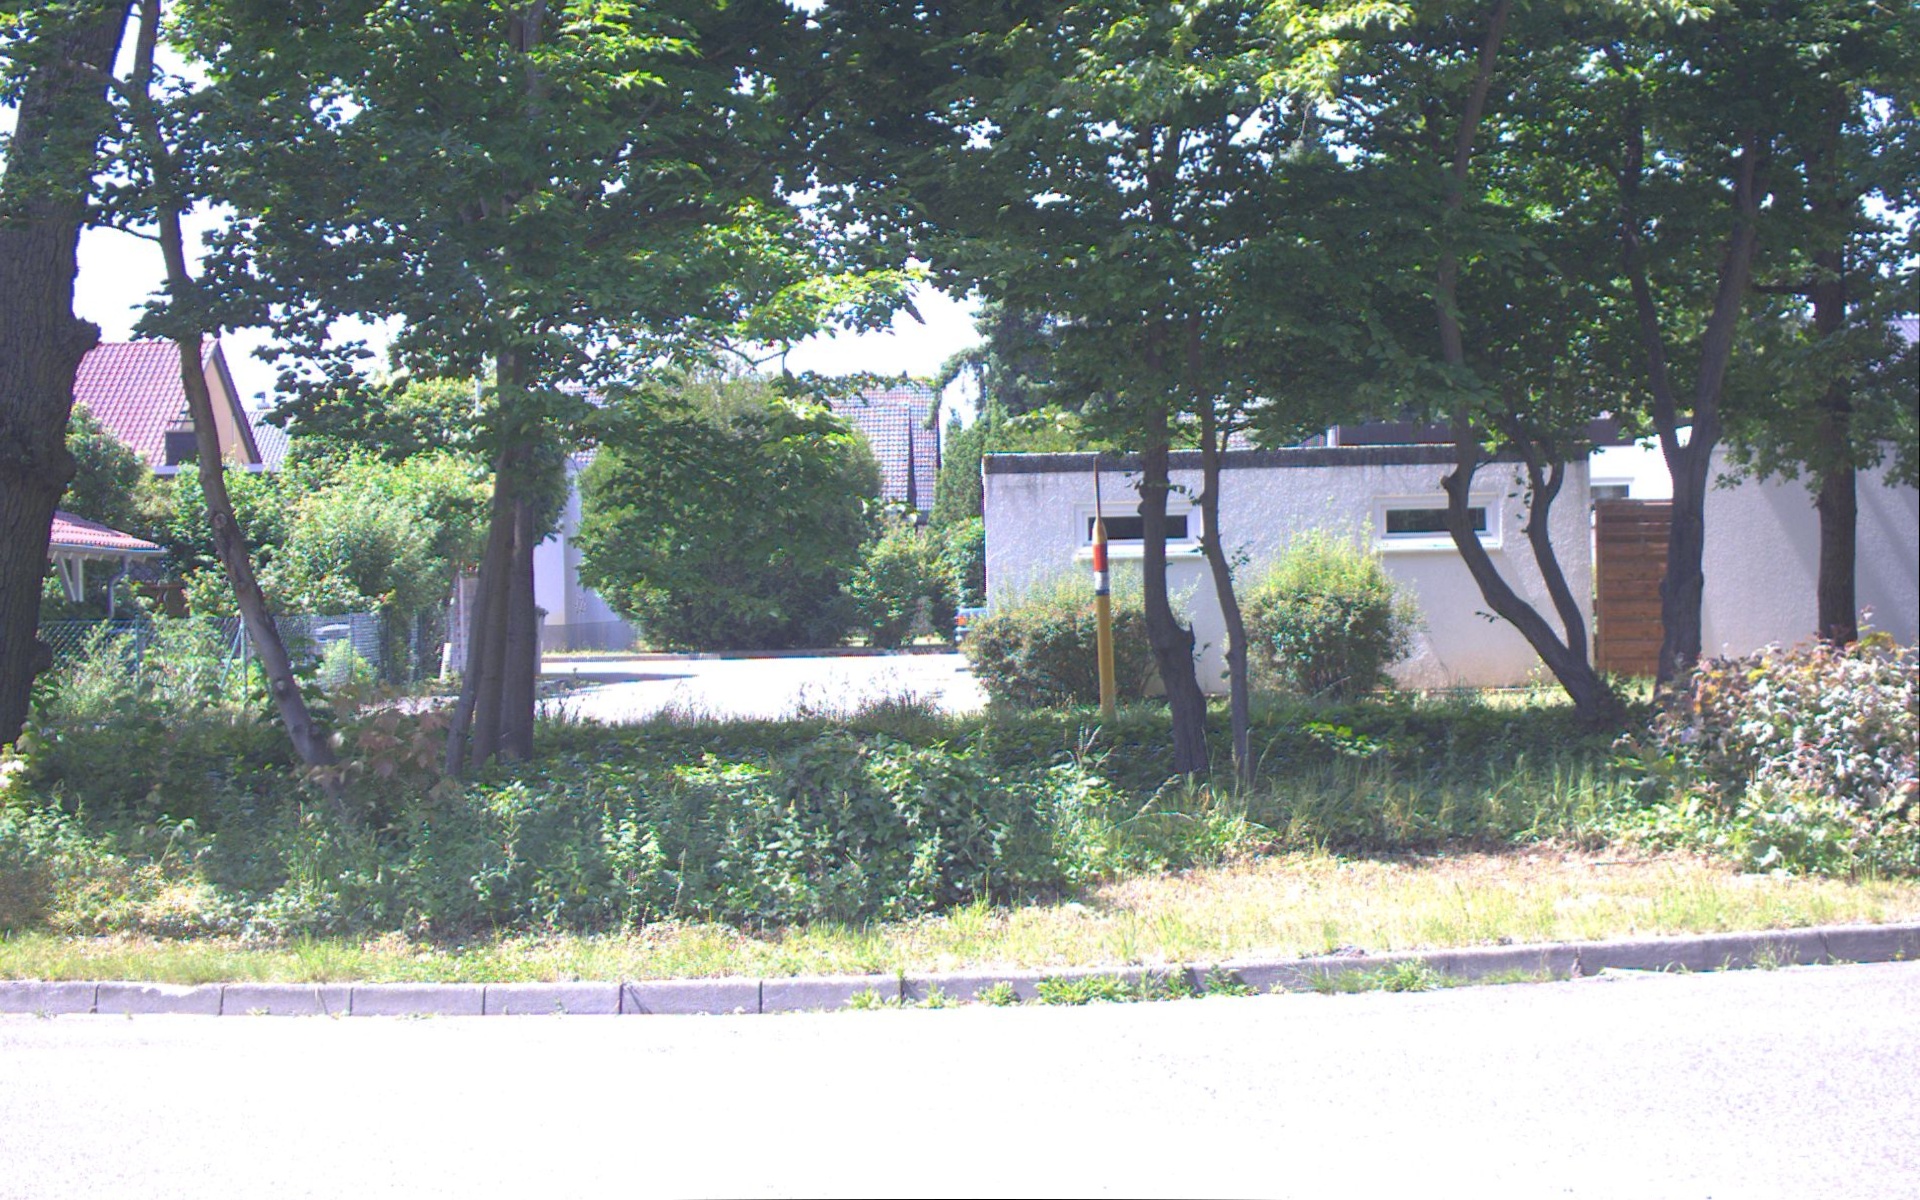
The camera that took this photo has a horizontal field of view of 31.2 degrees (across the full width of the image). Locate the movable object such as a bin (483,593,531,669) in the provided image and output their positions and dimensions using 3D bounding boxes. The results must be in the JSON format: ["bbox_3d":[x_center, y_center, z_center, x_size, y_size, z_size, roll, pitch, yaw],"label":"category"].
[{"bbox_3d":[-6.808,0.463,51.678,0.657,1.108,0.457,-1,1,-2],"label":"movable object such as a bin"}]

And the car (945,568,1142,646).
[{"bbox_3d":[1.408,0.113,59.029,3.268,1.249,1.573,-1,1,-2],"label":"car"}]
